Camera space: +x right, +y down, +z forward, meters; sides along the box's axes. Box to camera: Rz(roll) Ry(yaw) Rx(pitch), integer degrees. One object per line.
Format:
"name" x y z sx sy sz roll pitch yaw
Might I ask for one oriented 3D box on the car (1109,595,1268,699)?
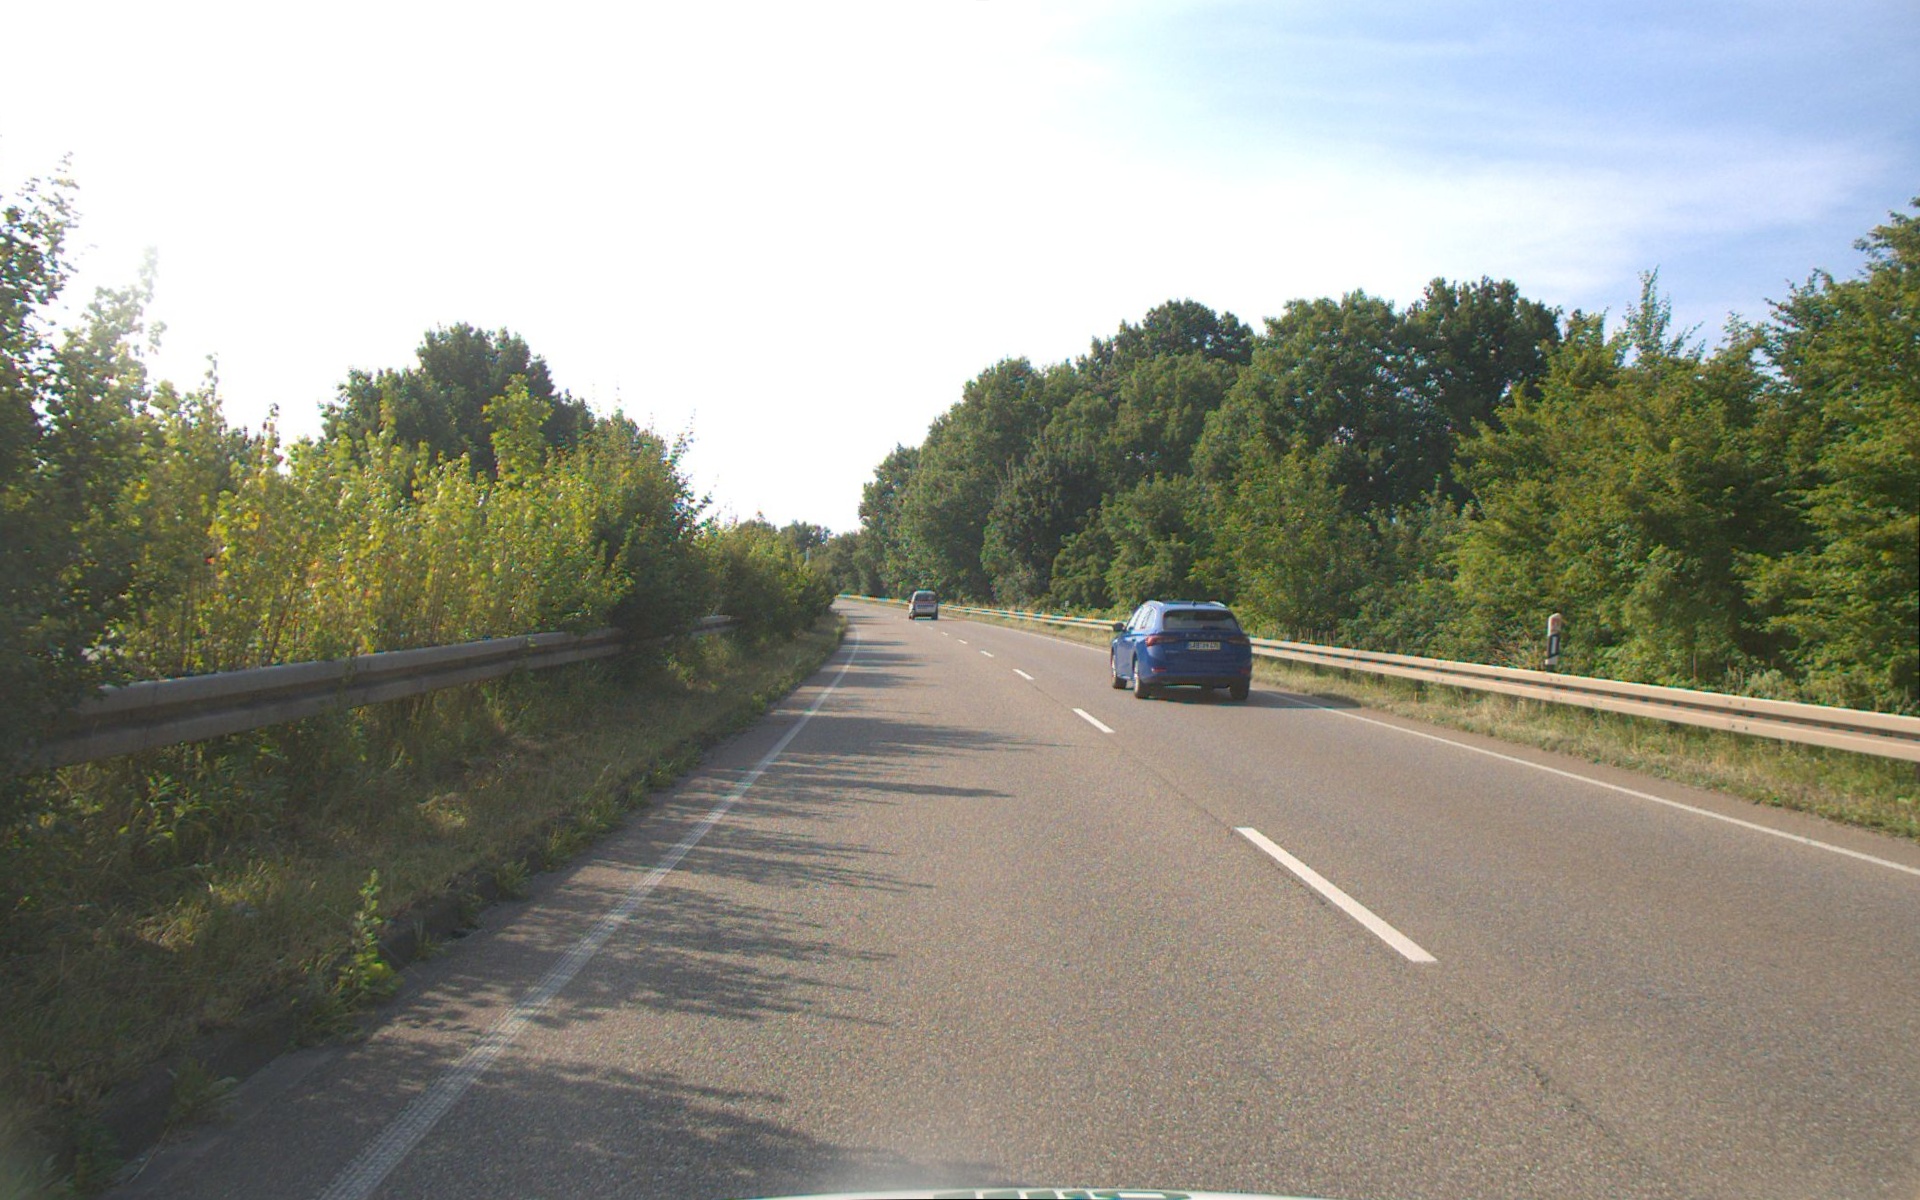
"car" 3.510 0.675 26.063 1.743 1.477 3.998 1 0 -3

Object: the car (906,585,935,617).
"car" -2.541 0.050 106.956 1.730 1.914 3.998 1 1 -3
